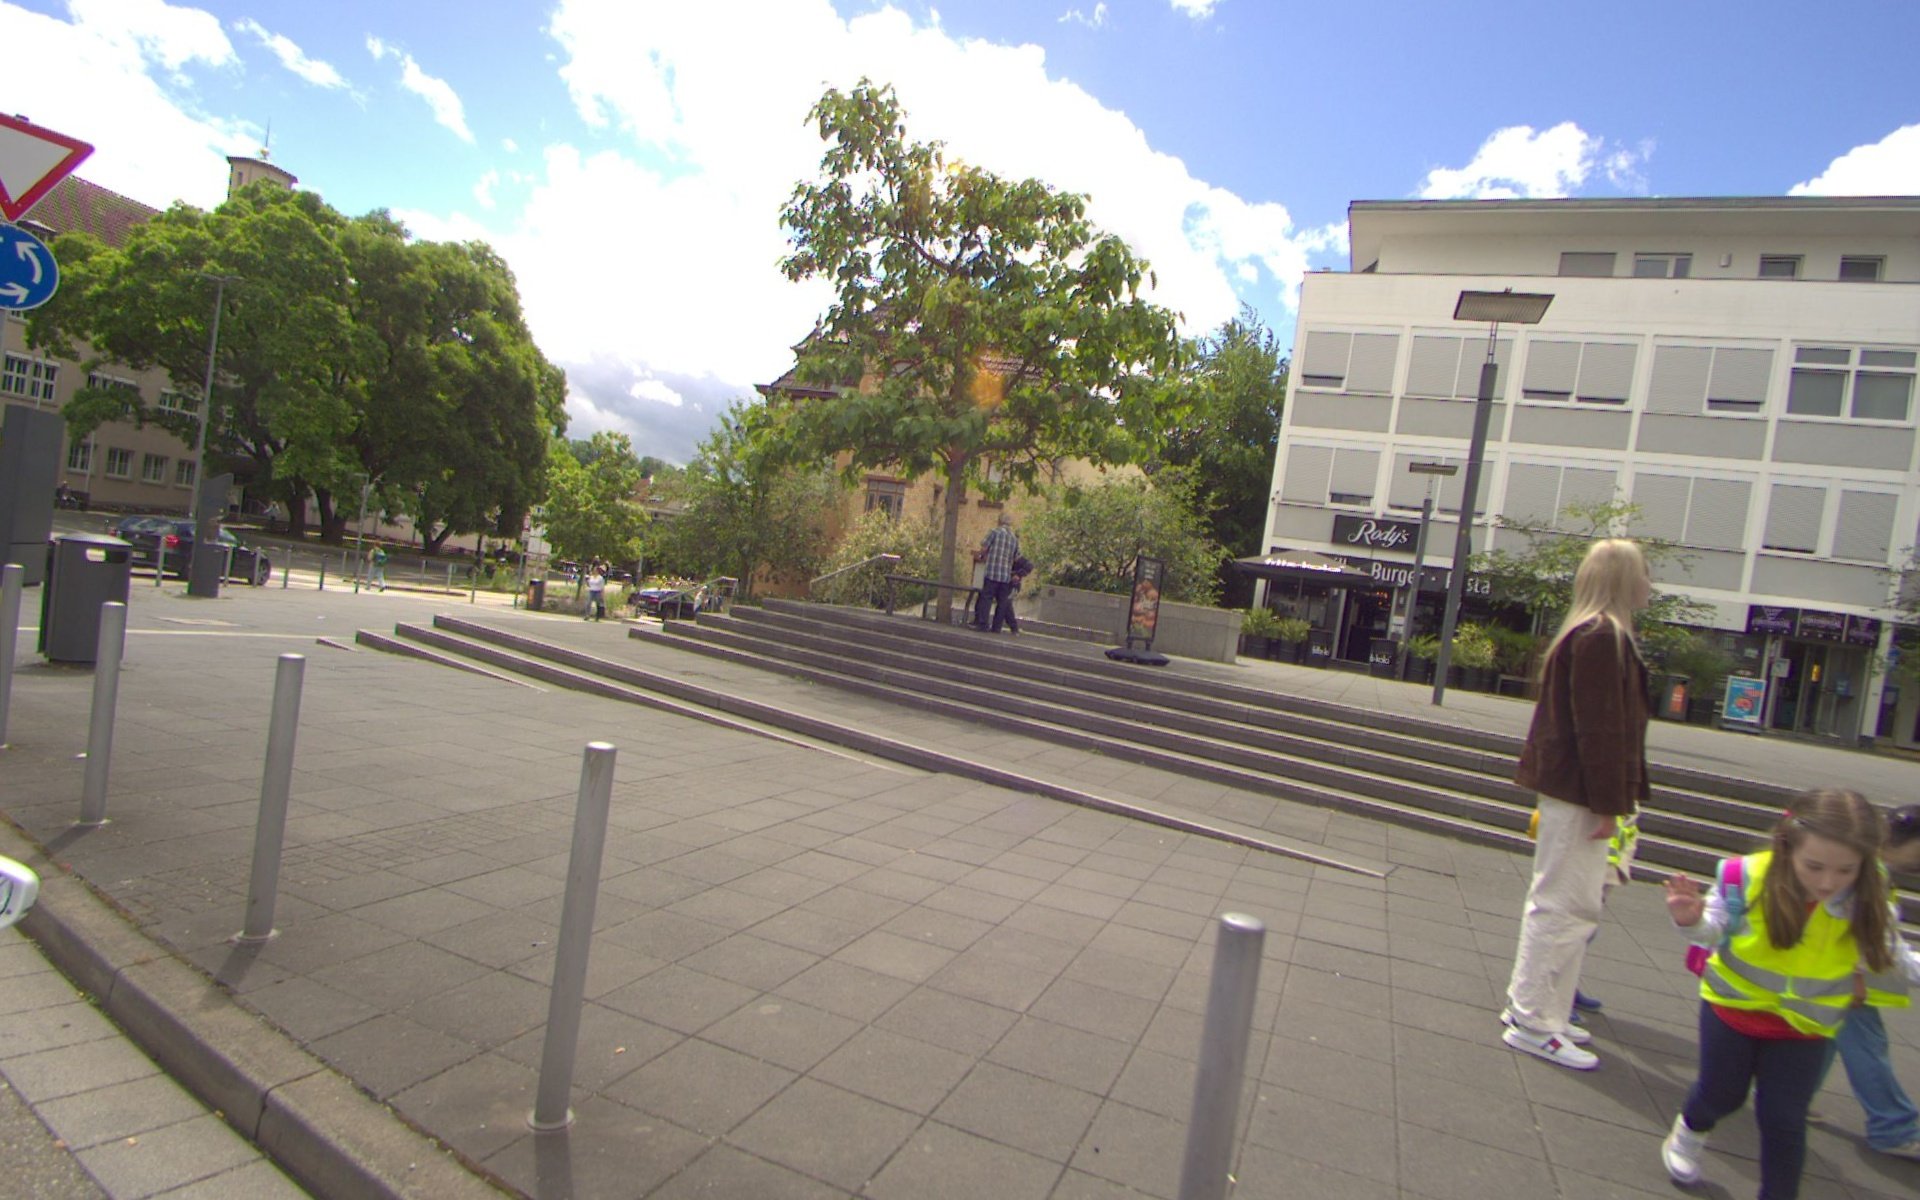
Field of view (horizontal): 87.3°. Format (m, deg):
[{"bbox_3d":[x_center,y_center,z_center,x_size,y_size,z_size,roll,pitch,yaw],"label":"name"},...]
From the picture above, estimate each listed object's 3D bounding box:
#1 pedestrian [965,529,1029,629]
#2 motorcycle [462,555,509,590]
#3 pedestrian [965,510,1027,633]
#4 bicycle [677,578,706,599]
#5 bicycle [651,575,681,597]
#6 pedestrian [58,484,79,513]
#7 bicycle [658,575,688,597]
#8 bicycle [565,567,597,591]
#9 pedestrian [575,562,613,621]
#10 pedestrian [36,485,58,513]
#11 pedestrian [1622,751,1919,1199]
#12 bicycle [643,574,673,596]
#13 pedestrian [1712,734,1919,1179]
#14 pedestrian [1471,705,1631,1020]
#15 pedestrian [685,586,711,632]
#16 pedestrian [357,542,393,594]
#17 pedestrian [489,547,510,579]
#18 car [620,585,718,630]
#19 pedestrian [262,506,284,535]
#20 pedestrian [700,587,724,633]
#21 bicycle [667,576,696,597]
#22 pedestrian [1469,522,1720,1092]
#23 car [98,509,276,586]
[{"bbox_3d":[0.515,-0.289,13.930,0.631,1.301,0.363,8,1,33],"label":"pedestrian"},{"bbox_3d":[-22.585,-1.315,47.856,2.099,1.306,0.583,10,3,19],"label":"motorcycle"},{"bbox_3d":[0.474,-0.370,13.208,0.497,1.527,0.452,7,1,-19],"label":"pedestrian"},{"bbox_3d":[-16.885,-0.722,63.276,1.543,1.104,0.578,8,0,17],"label":"bicycle"},{"bbox_3d":[-17.767,-0.857,60.758,1.543,1.082,0.539,8,0,17],"label":"bicycle"},{"bbox_3d":[-42.869,-4.874,48.358,0.482,1.236,0.577,9,-1,-26],"label":"pedestrian"},{"bbox_3d":[-17.559,-0.859,61.519,1.543,1.104,0.578,8,0,17],"label":"bicycle"},{"bbox_3d":[-20.130,-1.114,53.455,1.587,1.009,0.500,8,0,23],"label":"bicycle"},{"bbox_3d":[-11.560,-0.259,31.793,0.694,1.767,0.776,7,0,-1],"label":"pedestrian"},{"bbox_3d":[-42.933,-4.755,47.303,0.482,1.196,0.577,9,-1,-26],"label":"pedestrian"},{"bbox_3d":[2.050,1.020,2.477,0.467,1.188,0.390,6,2,12],"label":"pedestrian"},{"bbox_3d":[-18.038,-0.891,60.036,1.543,1.104,0.578,8,0,17],"label":"bicycle"},{"bbox_3d":[2.854,1.075,3.221,0.387,1.214,0.506,5,2,-37],"label":"pedestrian"},{"bbox_3d":[2.449,1.044,4.166,0.377,1.163,0.438,8,2,41],"label":"pedestrian"},{"bbox_3d":[-9.723,0.332,37.347,0.550,1.648,0.671,8,-1,-37],"label":"pedestrian"},{"bbox_3d":[-19.000,-1.041,32.692,0.774,1.533,0.551,10,3,30],"label":"pedestrian"},{"bbox_3d":[-24.472,-1.949,53.483,0.572,1.596,0.616,8,0,11],"label":"pedestrian"},{"bbox_3d":[-12.441,0.359,43.321,1.827,1.422,4.378,7,-2,17],"label":"car"},{"bbox_3d":[-39.911,-4.620,58.459,0.804,1.510,0.697,7,-1,43],"label":"pedestrian"},{"bbox_3d":[-9.348,0.388,37.953,0.497,1.648,0.509,7,-1,32],"label":"pedestrian"},{"bbox_3d":[-17.289,-0.846,62.429,1.543,1.104,0.578,8,0,17],"label":"bicycle"},{"bbox_3d":[2.225,0.685,3.599,0.427,1.847,0.541,7,2,16],"label":"pedestrian"},{"bbox_3d":[-18.388,-1.185,24.159,1.587,1.399,3.831,8,-1,-9],"label":"car"}]
